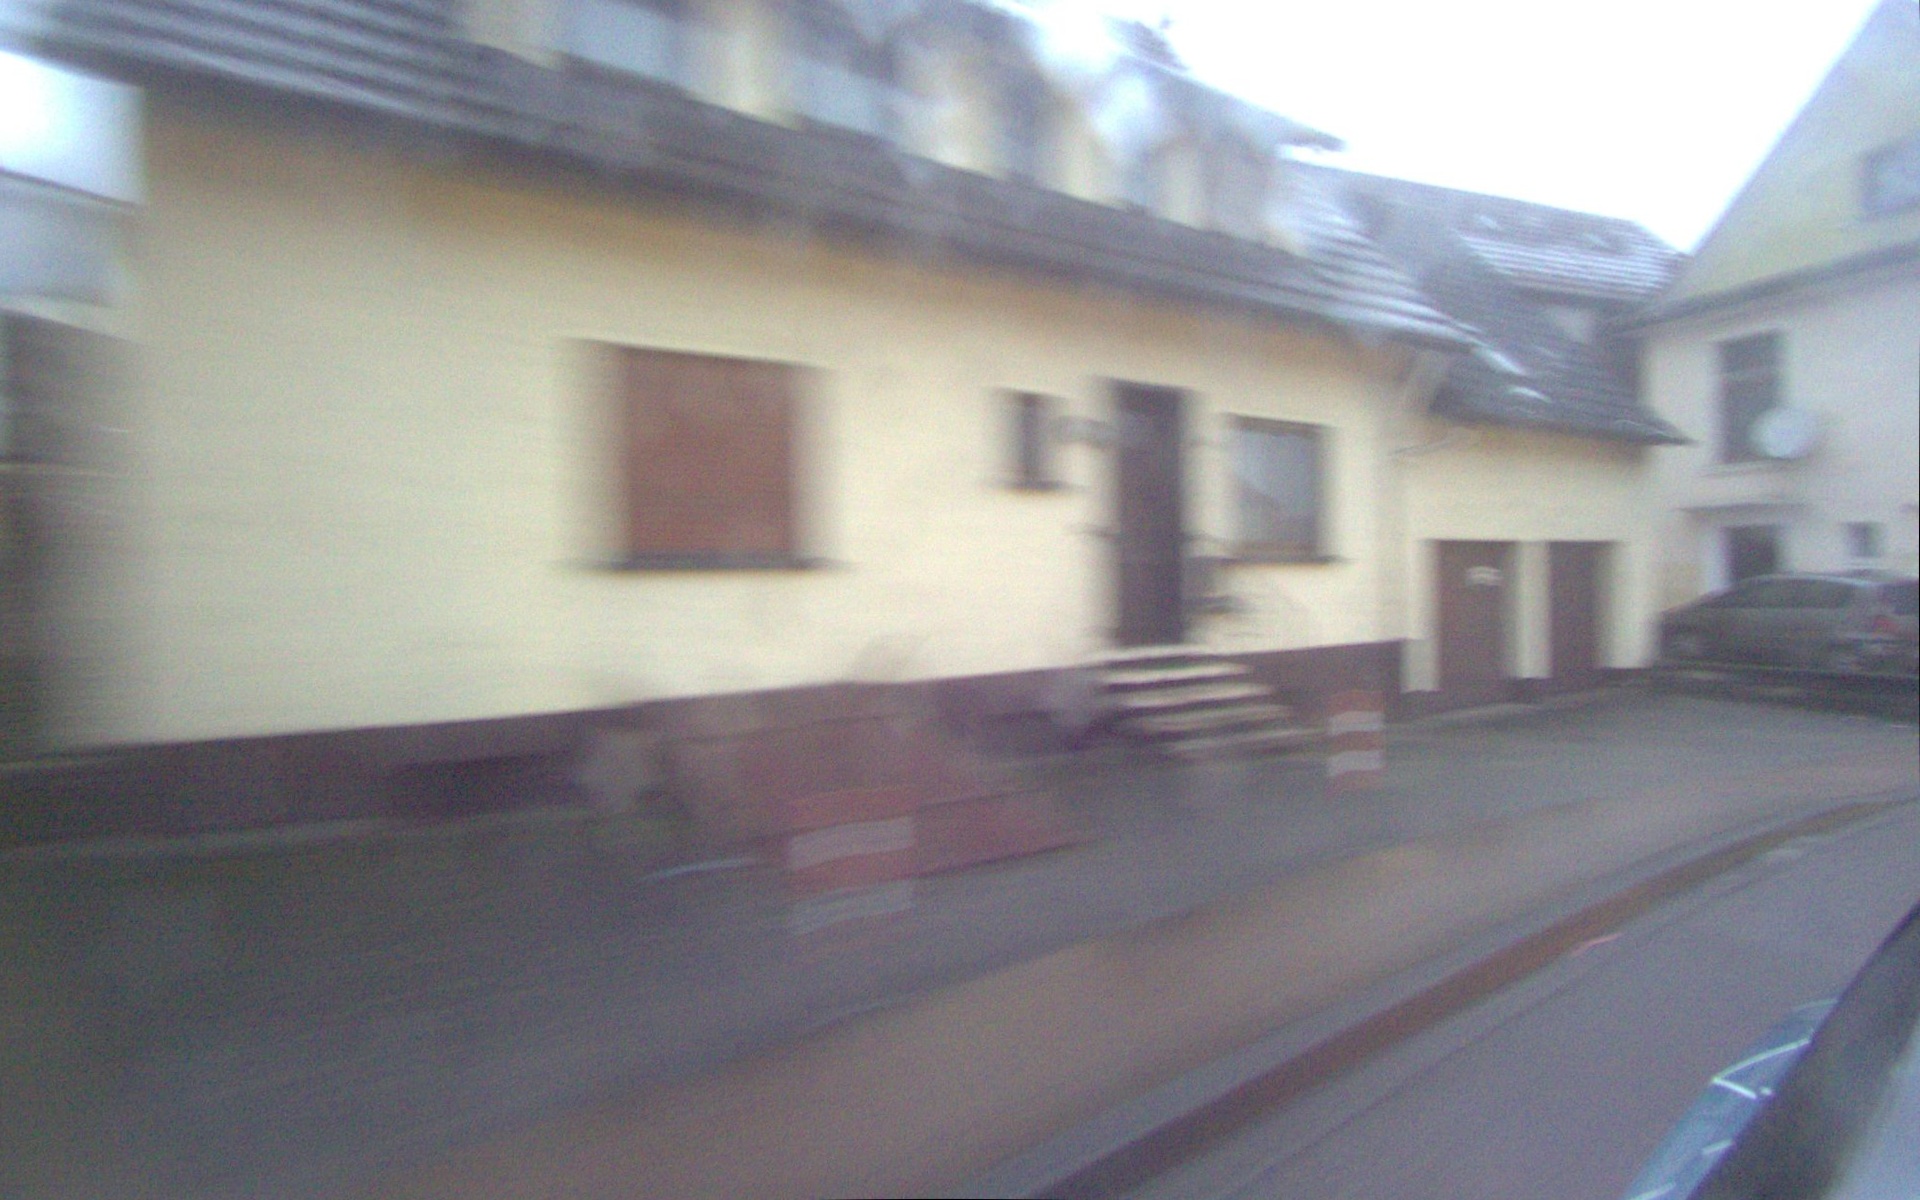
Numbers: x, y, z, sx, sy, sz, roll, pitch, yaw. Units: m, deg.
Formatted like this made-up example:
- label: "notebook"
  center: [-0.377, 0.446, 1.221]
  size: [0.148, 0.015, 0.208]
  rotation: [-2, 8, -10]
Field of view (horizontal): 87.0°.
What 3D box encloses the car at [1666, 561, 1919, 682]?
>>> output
- label: "car"
  center: [13.286, 0.243, 15.768]
  size: [1.615, 1.524, 3.501]
  rotation: [1, 4, -12]
